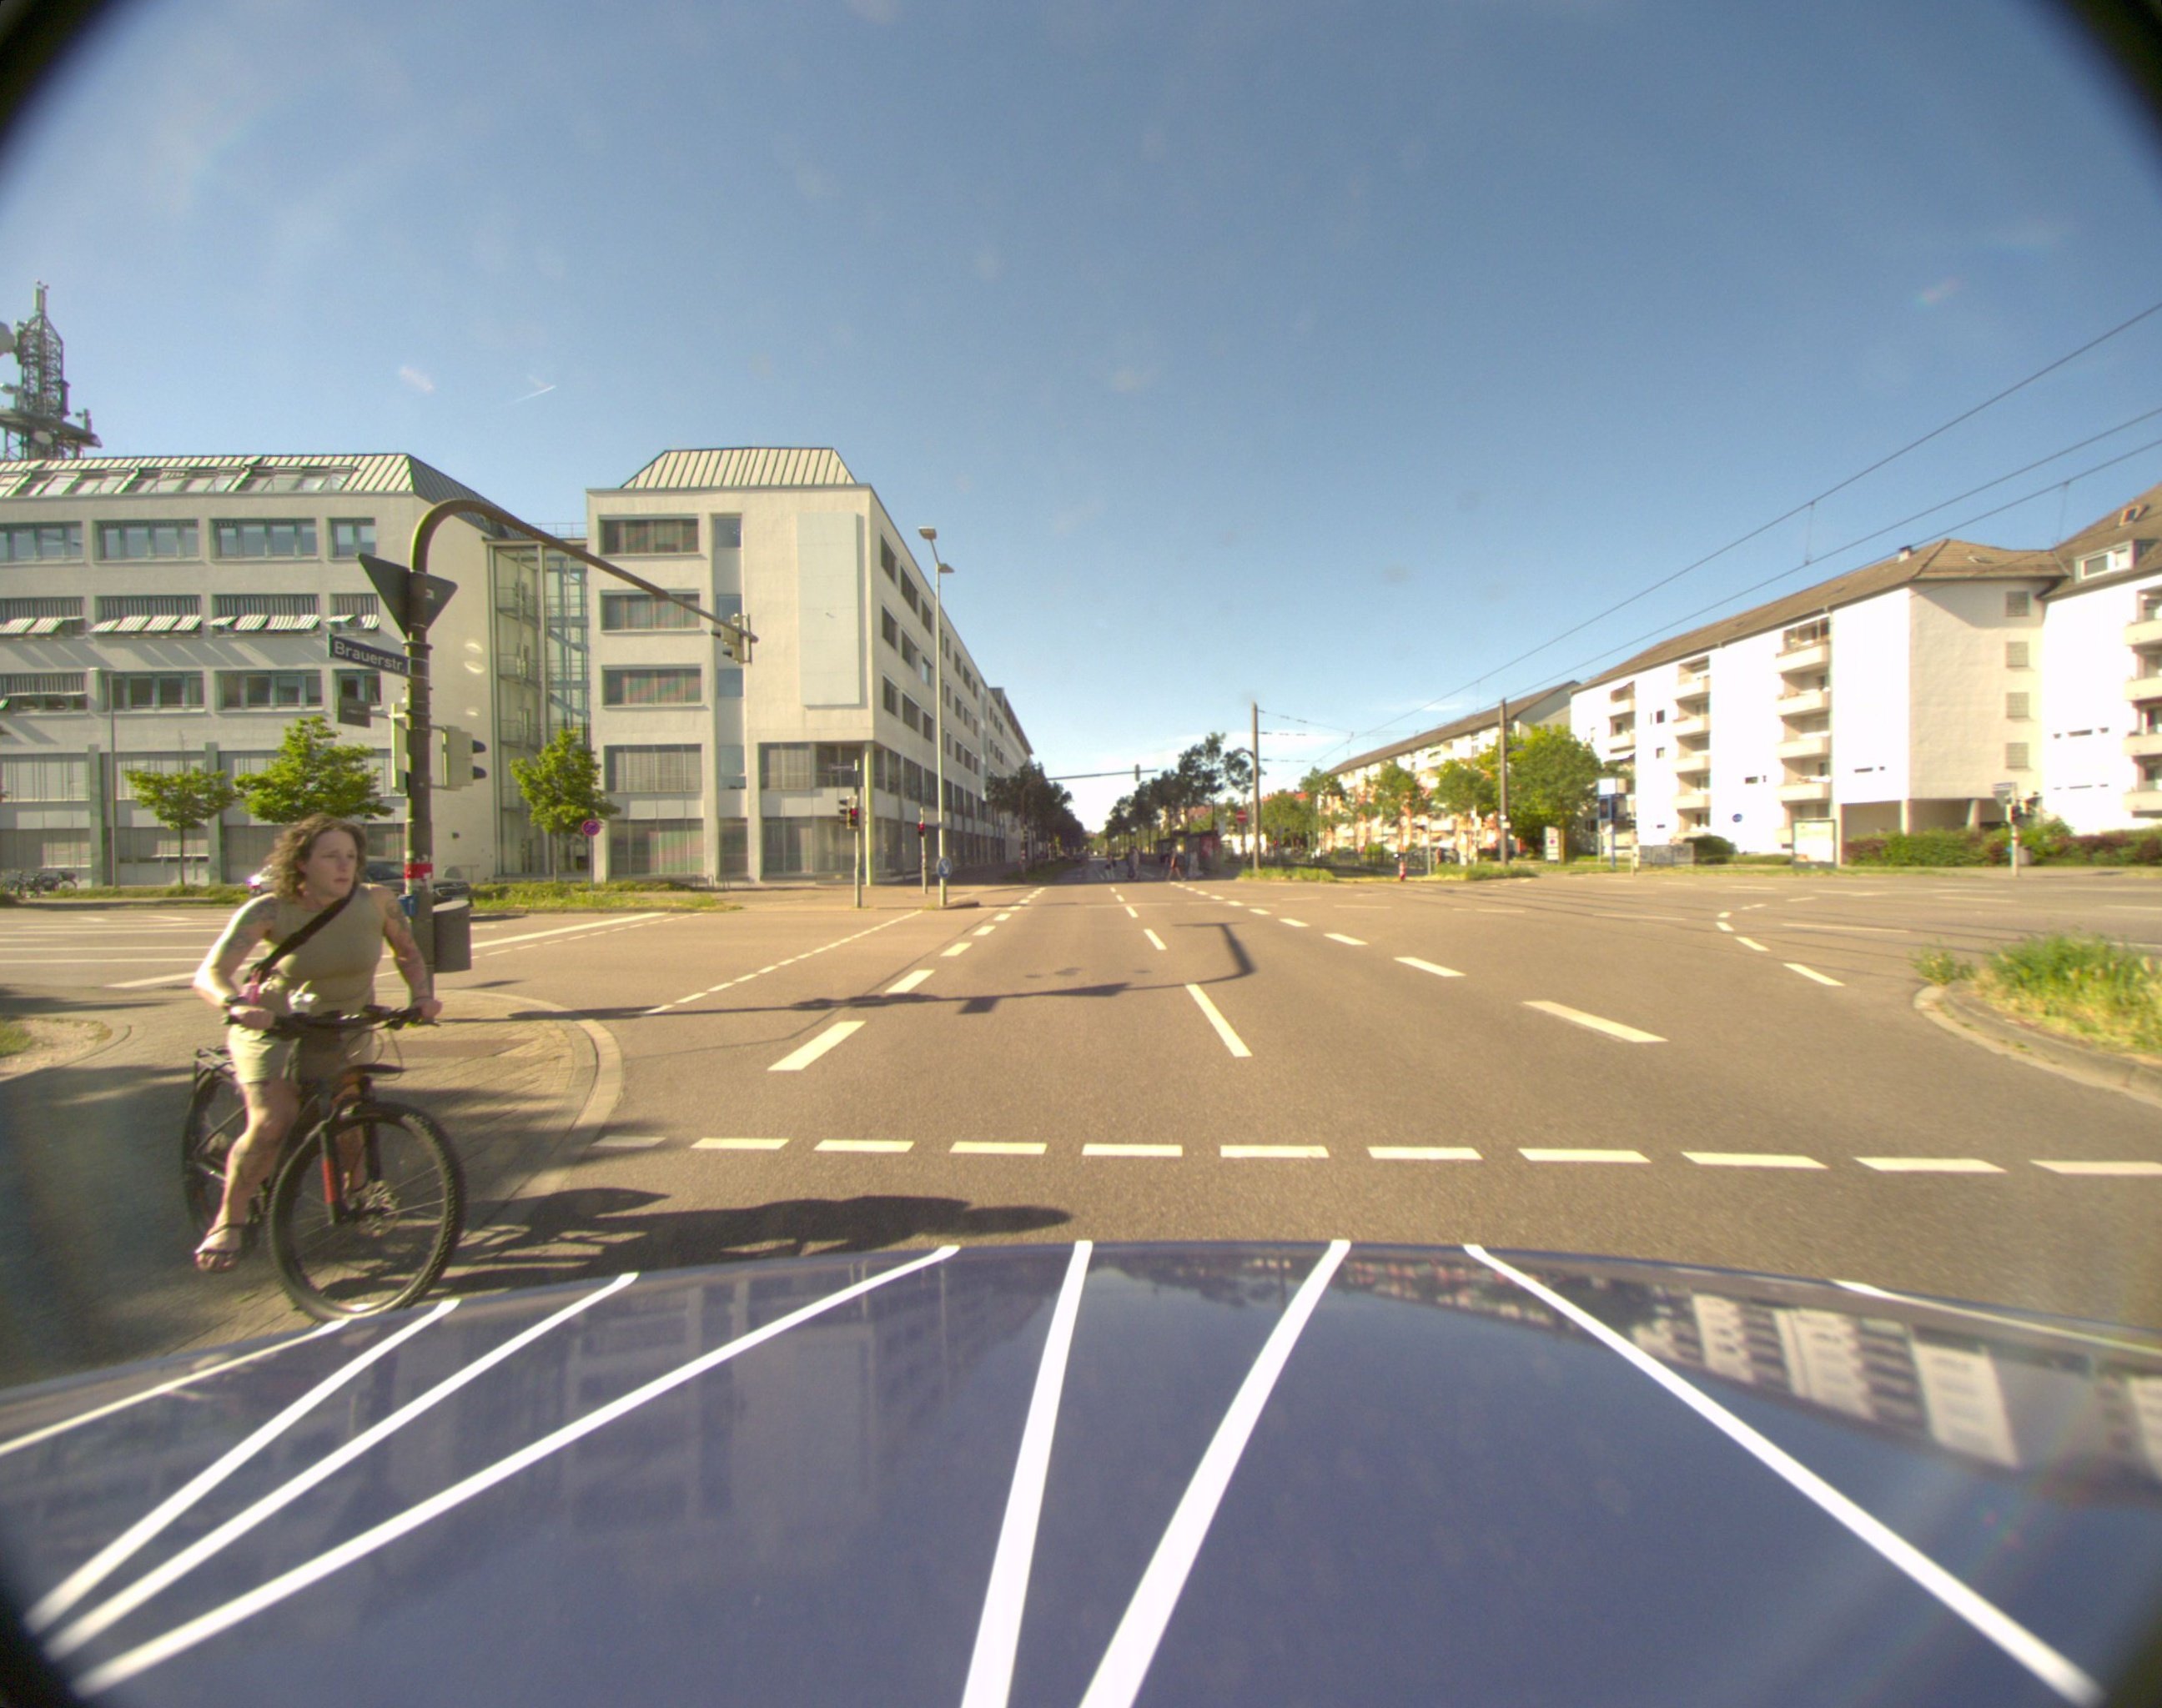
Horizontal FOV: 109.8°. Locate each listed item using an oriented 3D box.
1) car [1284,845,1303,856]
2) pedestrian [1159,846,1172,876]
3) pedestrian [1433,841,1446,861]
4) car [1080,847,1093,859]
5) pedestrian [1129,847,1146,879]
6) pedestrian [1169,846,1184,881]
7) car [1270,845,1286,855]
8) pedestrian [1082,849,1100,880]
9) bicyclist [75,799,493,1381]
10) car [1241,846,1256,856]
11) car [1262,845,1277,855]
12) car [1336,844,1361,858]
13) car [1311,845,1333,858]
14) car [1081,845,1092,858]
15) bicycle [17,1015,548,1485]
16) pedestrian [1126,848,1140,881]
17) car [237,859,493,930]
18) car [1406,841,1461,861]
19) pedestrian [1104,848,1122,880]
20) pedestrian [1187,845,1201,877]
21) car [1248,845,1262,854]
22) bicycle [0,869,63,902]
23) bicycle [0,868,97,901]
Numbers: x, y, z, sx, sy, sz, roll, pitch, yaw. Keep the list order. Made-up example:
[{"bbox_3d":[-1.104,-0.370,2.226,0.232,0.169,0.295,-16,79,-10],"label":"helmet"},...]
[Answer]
[{"bbox_3d":[33.777,-0.570,120.846,1.832,1.700,4.241,-1,0,0],"label":"car"},{"bbox_3d":[4.755,0.390,42.646,0.732,1.687,0.735,-1,1,7],"label":"pedestrian"},{"bbox_3d":[31.137,-0.282,65.981,0.786,1.701,0.704,-1,1,0],"label":"pedestrian"},{"bbox_3d":[0.774,-0.160,108.581,1.692,1.700,4.241,-1,0,0],"label":"car"},{"bbox_3d":[3.046,0.475,41.036,0.881,1.687,0.735,-1,1,7],"label":"pedestrian"},{"bbox_3d":[4.701,0.452,37.543,0.722,1.687,0.608,-1,1,7],"label":"pedestrian"},{"bbox_3d":[33.863,-0.670,130.884,1.692,1.700,4.241,-1,0,0],"label":"car"},{"bbox_3d":[0.555,0.559,41.958,0.731,1.687,0.736,-1,1,23],"label":"pedestrian"},{"bbox_3d":[-2.783,0.685,2.711,0.713,1.682,0.818,0,1,26],"label":"bicyclist"},{"bbox_3d":[28.812,-0.464,130.709,1.692,1.700,4.241,-1,0,0],"label":"car"},{"bbox_3d":[33.748,-0.703,136.161,1.692,1.700,4.405,-1,0,0],"label":"car"},{"bbox_3d":[33.389,-0.415,94.998,1.692,1.700,4.241,-1,0,0],"label":"car"},{"bbox_3d":[33.393,-0.375,105.368,1.692,1.700,4.241,-1,0,0],"label":"car"},{"bbox_3d":[0.854,-0.359,114.724,1.692,1.836,4.241,-1,0,0],"label":"car"},{"bbox_3d":[-2.957,1.228,2.806,1.824,0.958,0.818,-1,1,26],"label":"bicycle"},{"bbox_3d":[2.682,0.535,39.228,0.640,1.687,0.608,-1,1,2],"label":"pedestrian"},{"bbox_3d":[-18.073,0.985,19.345,4.627,1.613,2.000,-1,1,2],"label":"car"},{"bbox_3d":[31.158,-0.274,67.137,4.229,1.700,1.697,-1,0,32],"label":"car"},{"bbox_3d":[1.745,0.546,41.368,0.731,1.687,0.736,-1,1,23],"label":"pedestrian"},{"bbox_3d":[5.956,0.374,40.102,0.732,1.687,0.735,-1,1,7],"label":"pedestrian"},{"bbox_3d":[33.897,-0.826,148.131,1.692,1.700,4.405,-1,0,0],"label":"car"},{"bbox_3d":[-45.410,1.326,32.079,3.532,1.340,0.990,-1,1,0],"label":"bicycle"},{"bbox_3d":[-45.318,1.312,33.133,3.532,1.340,0.990,-1,1,0],"label":"bicycle"}]
